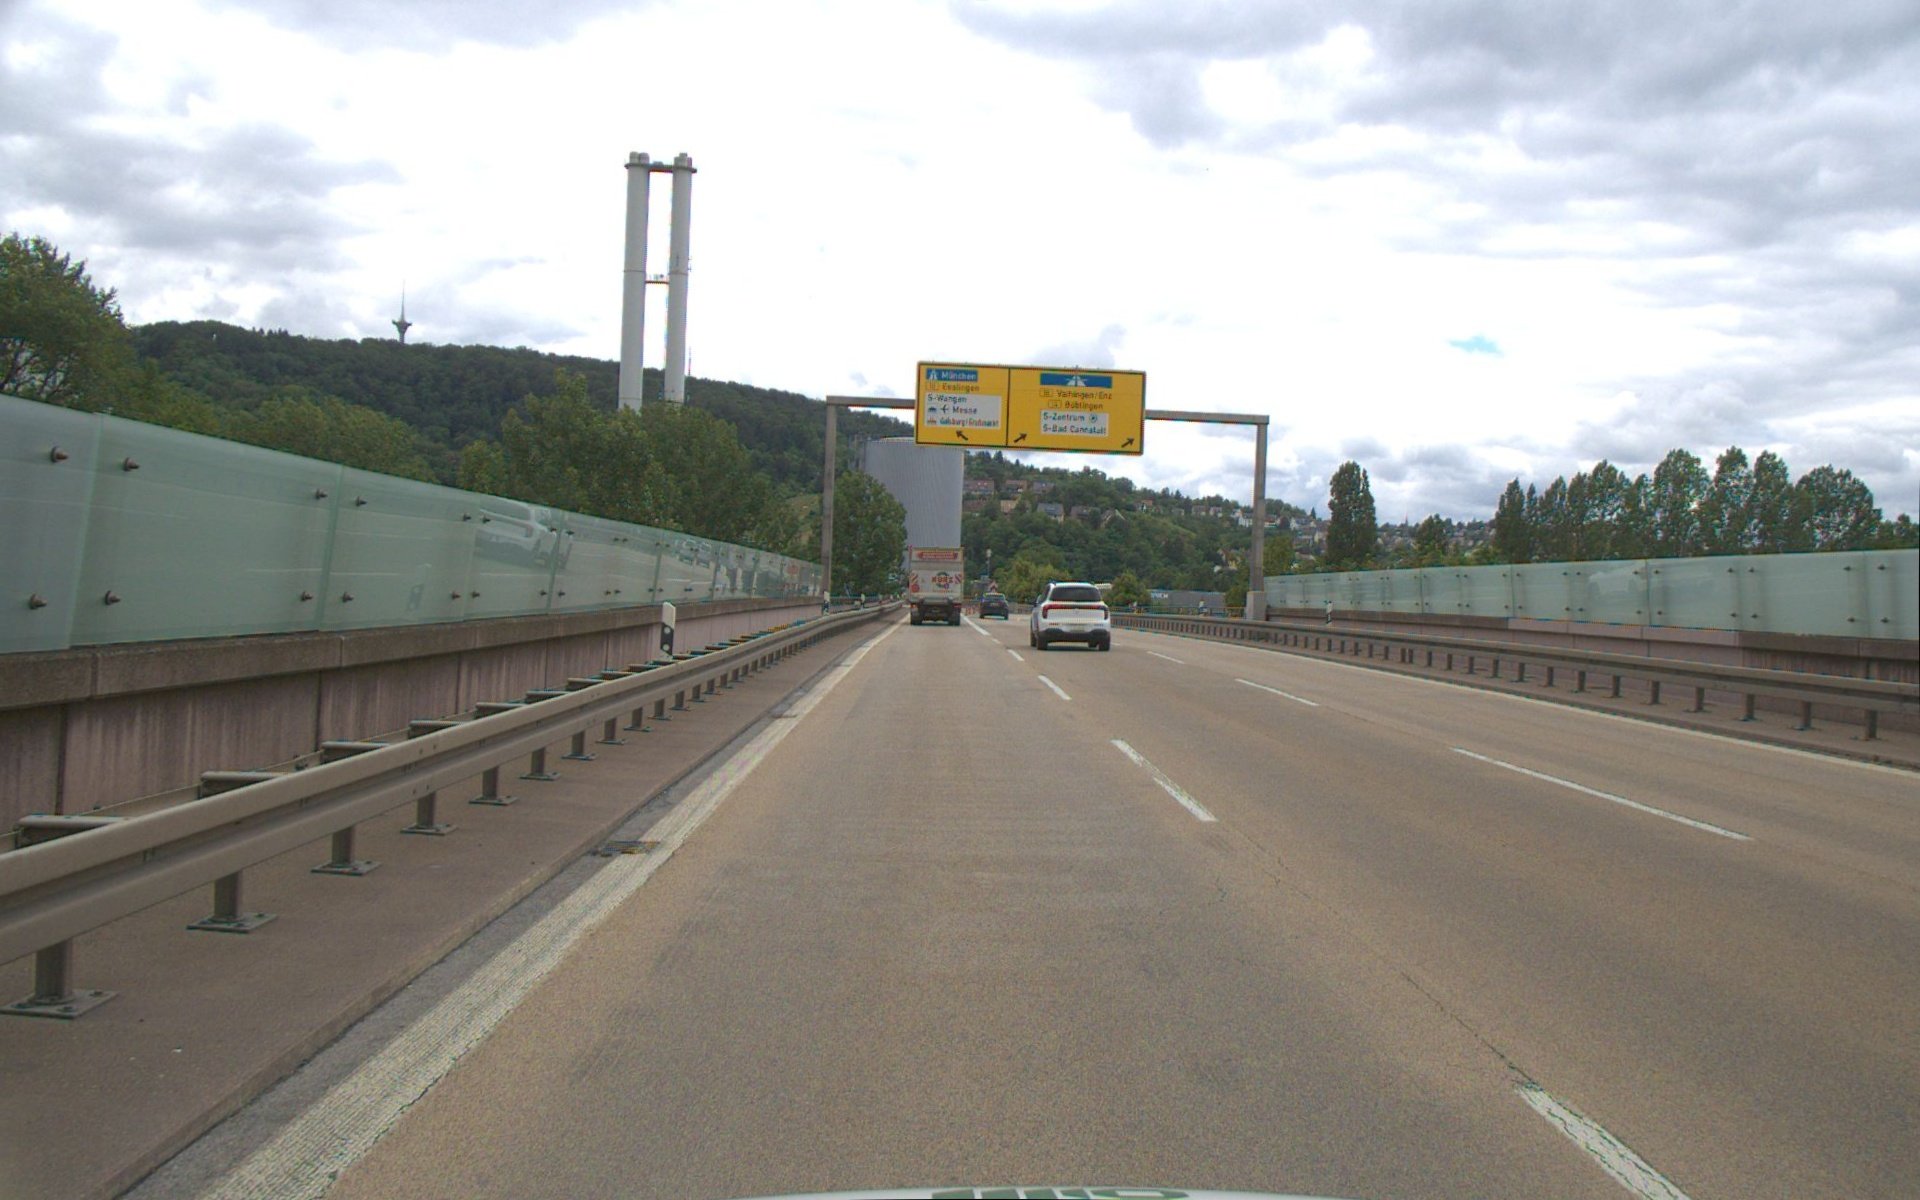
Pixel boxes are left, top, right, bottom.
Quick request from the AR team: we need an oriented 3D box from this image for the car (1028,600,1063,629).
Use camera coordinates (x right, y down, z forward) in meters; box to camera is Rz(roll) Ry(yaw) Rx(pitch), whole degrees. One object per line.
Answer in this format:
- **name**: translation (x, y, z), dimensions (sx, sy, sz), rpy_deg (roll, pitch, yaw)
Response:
- **car**: translation (5.601, 0.913, 108.679), dimensions (1.885, 1.816, 4.111), rpy_deg (1, 0, -2)

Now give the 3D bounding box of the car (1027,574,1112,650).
- **car**: translation (2.764, 0.279, 42.582), dimensions (1.884, 1.816, 4.113), rpy_deg (1, 0, 0)

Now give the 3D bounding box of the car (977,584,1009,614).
- **car**: translation (2.103, -0.079, 106.768), dimensions (1.884, 1.816, 4.113), rpy_deg (1, 0, 0)

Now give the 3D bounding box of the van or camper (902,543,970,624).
- **van or camper**: translation (-1.084, -0.738, 79.731), dimensions (3.058, 3.642, 8.550), rpy_deg (1, 0, 0)
